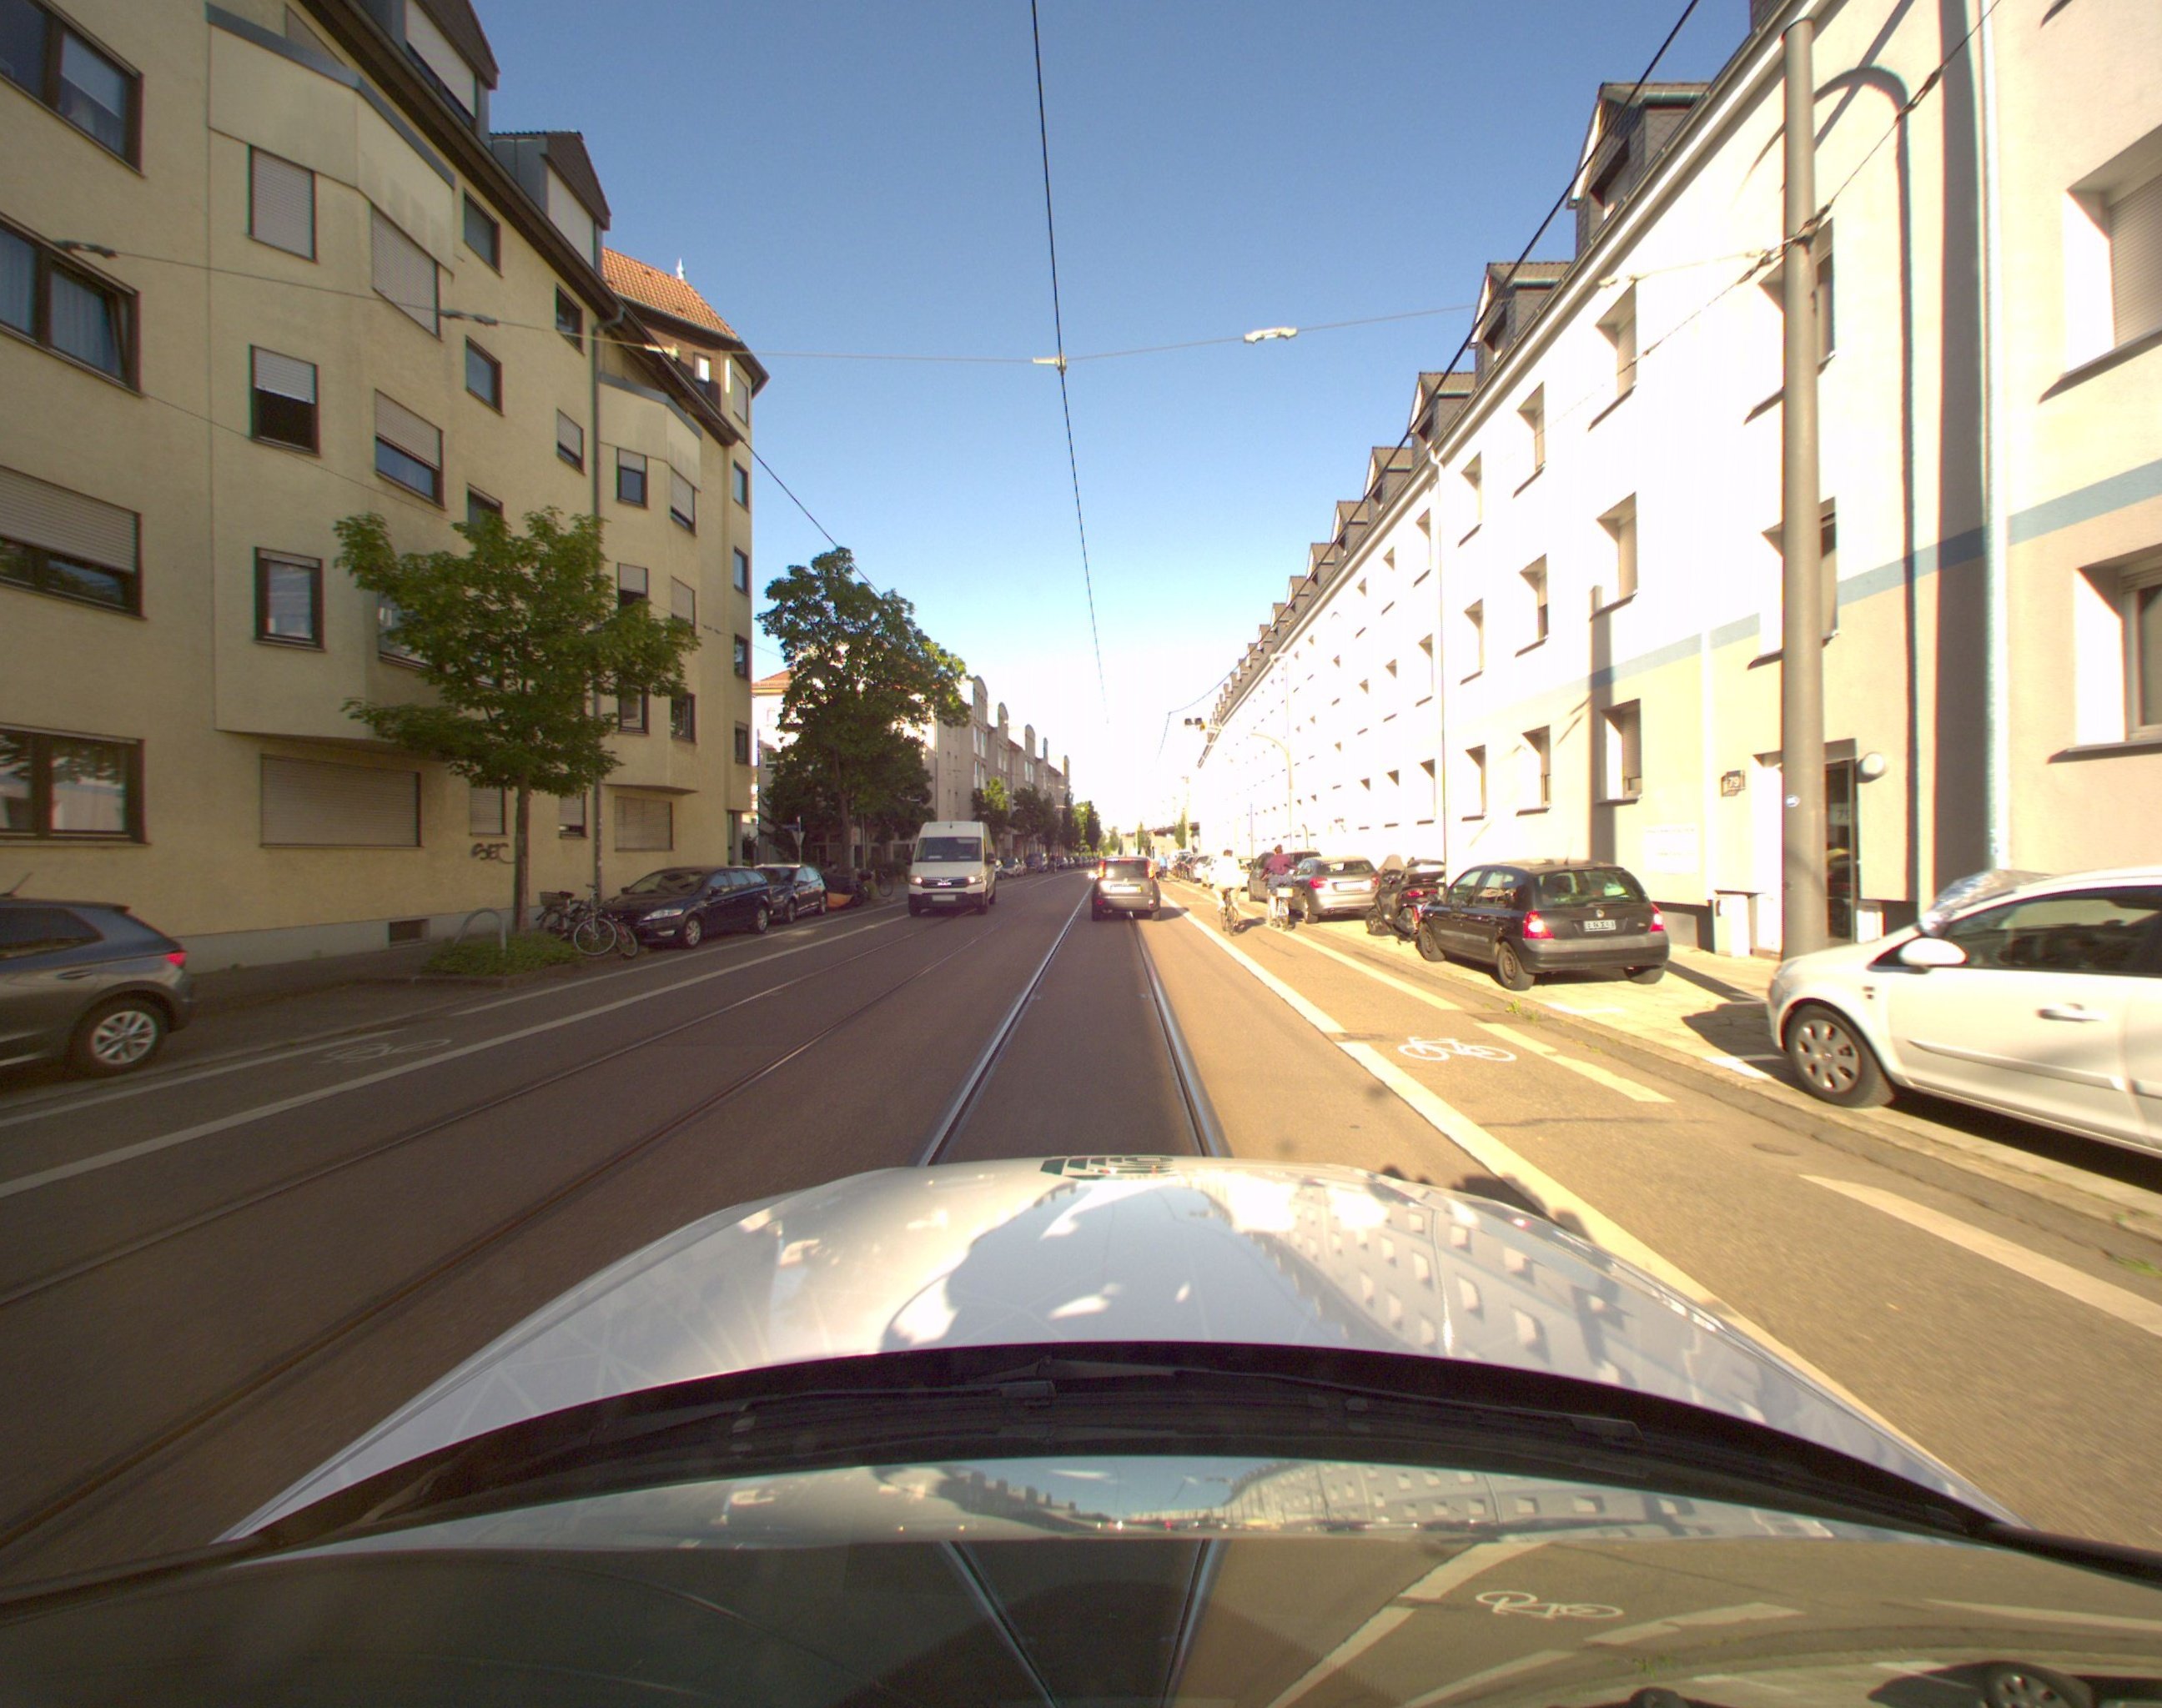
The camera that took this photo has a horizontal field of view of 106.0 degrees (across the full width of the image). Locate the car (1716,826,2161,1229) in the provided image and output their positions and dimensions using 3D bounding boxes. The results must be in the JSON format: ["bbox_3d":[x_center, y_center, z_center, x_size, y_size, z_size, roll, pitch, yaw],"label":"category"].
[{"bbox_3d":[5.158,0.664,3.541,1.793,1.571,3.906,-2,0,2],"label":"car"}]

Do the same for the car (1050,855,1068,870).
[{"bbox_3d":[-2.571,0.983,94.784,1.657,1.618,4.004,-1,0,4],"label":"car"}]

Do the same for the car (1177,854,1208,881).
[{"bbox_3d":[6.848,0.803,50.207,1.584,1.537,4.011,-3,0,4],"label":"car"}]

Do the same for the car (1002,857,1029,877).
[{"bbox_3d":[-5.575,1.098,69.808,1.823,1.593,4.002,-1,0,2],"label":"car"}]

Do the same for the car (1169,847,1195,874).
[{"bbox_3d":[8.060,0.508,65.481,1.779,1.970,4.158,-2,0,3],"label":"car"}]

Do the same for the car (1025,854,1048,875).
[{"bbox_3d":[-4.318,0.962,79.027,1.657,1.986,4.348,-1,0,4],"label":"car"}]

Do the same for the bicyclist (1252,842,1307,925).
[{"bbox_3d":[4.170,0.606,17.179,0.931,1.676,0.970,-1,0,1],"label":"bicyclist"}]

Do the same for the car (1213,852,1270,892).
[{"bbox_3d":[6.489,0.692,33.383,1.508,1.430,4.203,-5,0,2],"label":"car"}]

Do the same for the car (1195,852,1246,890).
[{"bbox_3d":[6.384,0.741,37.720,1.673,1.571,4.512,-2,0,2],"label":"car"}]

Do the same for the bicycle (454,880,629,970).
[{"bbox_3d":[-8.461,1.101,12.824,2.284,1.334,0.700,-1,0,1],"label":"bicycle"}]

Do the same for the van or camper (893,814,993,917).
[{"bbox_3d":[-3.786,0.291,23.699,2.366,2.553,6.821,-1,0,-6],"label":"van or camper"}]

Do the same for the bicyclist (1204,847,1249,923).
[{"bbox_3d":[2.874,0.597,16.184,0.725,1.462,1.021,-1,0,1],"label":"bicyclist"}]

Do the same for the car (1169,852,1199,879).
[{"bbox_3d":[7.014,0.786,55.592,1.653,1.669,3.907,-4,0,3],"label":"car"}]

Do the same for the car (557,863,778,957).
[{"bbox_3d":[-7.943,0.981,16.266,1.757,1.542,4.738,-1,0,3],"label":"car"}]

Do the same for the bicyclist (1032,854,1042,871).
[{"bbox_3d":[-3.792,0.729,70.406,0.620,1.380,0.868,-5,-1,2],"label":"bicyclist"}]

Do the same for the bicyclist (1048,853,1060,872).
[{"bbox_3d":[-2.324,0.738,70.021,0.878,1.561,0.868,-4,0,2],"label":"bicyclist"}]

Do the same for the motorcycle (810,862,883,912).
[{"bbox_3d":[-7.117,0.990,24.794,1.965,1.447,0.835,-1,0,-5],"label":"motorcycle"}]

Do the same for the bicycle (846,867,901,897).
[{"bbox_3d":[-7.761,1.028,30.444,1.868,1.084,0.596,-1,0,3],"label":"bicycle"}]

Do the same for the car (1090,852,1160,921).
[{"bbox_3d":[1.025,0.728,19.950,1.551,1.533,3.487,0,0,1],"label":"car"}]

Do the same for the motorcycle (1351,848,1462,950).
[{"bbox_3d":[5.488,0.699,13.981,0.802,1.521,2.709,-3,0,1],"label":"motorcycle"}]

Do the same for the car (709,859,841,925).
[{"bbox_3d":[-7.973,0.926,21.646,1.728,1.542,4.133,-1,0,3],"label":"car"}]

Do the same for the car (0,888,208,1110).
[{"bbox_3d":[-8.561,1.056,5.079,1.759,1.473,4.043,2,0,1],"label":"car"}]

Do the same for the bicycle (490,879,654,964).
[{"bbox_3d":[-8.426,1.107,13.541,2.284,1.334,0.700,-1,0,1],"label":"bicycle"}]

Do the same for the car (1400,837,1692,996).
[{"bbox_3d":[5.515,0.645,10.293,1.602,1.571,3.908,-2,0,3],"label":"car"}]

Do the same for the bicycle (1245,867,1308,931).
[{"bbox_3d":[4.164,0.930,17.563,0.818,1.237,2.463,1,0,1],"label":"bicycle"}]

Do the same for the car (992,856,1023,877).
[{"bbox_3d":[-5.813,0.950,64.951,1.821,1.593,4.005,-1,0,4],"label":"car"}]

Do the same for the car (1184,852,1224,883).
[{"bbox_3d":[6.836,0.728,45.535,1.747,1.571,3.908,-4,0,3],"label":"car"}]

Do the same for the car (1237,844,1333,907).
[{"bbox_3d":[6.079,0.608,24.813,1.749,1.665,4.626,-2,0,1],"label":"car"}]

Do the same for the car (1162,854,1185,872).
[{"bbox_3d":[8.716,0.800,76.978,1.836,1.646,4.552,-1,0,3],"label":"car"}]

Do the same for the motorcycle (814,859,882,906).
[{"bbox_3d":[-7.432,0.892,26.071,1.965,1.447,0.719,-1,0,-5],"label":"motorcycle"}]

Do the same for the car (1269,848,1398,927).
[{"bbox_3d":[5.730,0.694,19.074,1.856,1.555,4.370,-2,0,3],"label":"car"}]

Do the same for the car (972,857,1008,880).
[{"bbox_3d":[-6.312,1.001,56.977,1.823,1.489,4.002,-3,0,2],"label":"car"}]
